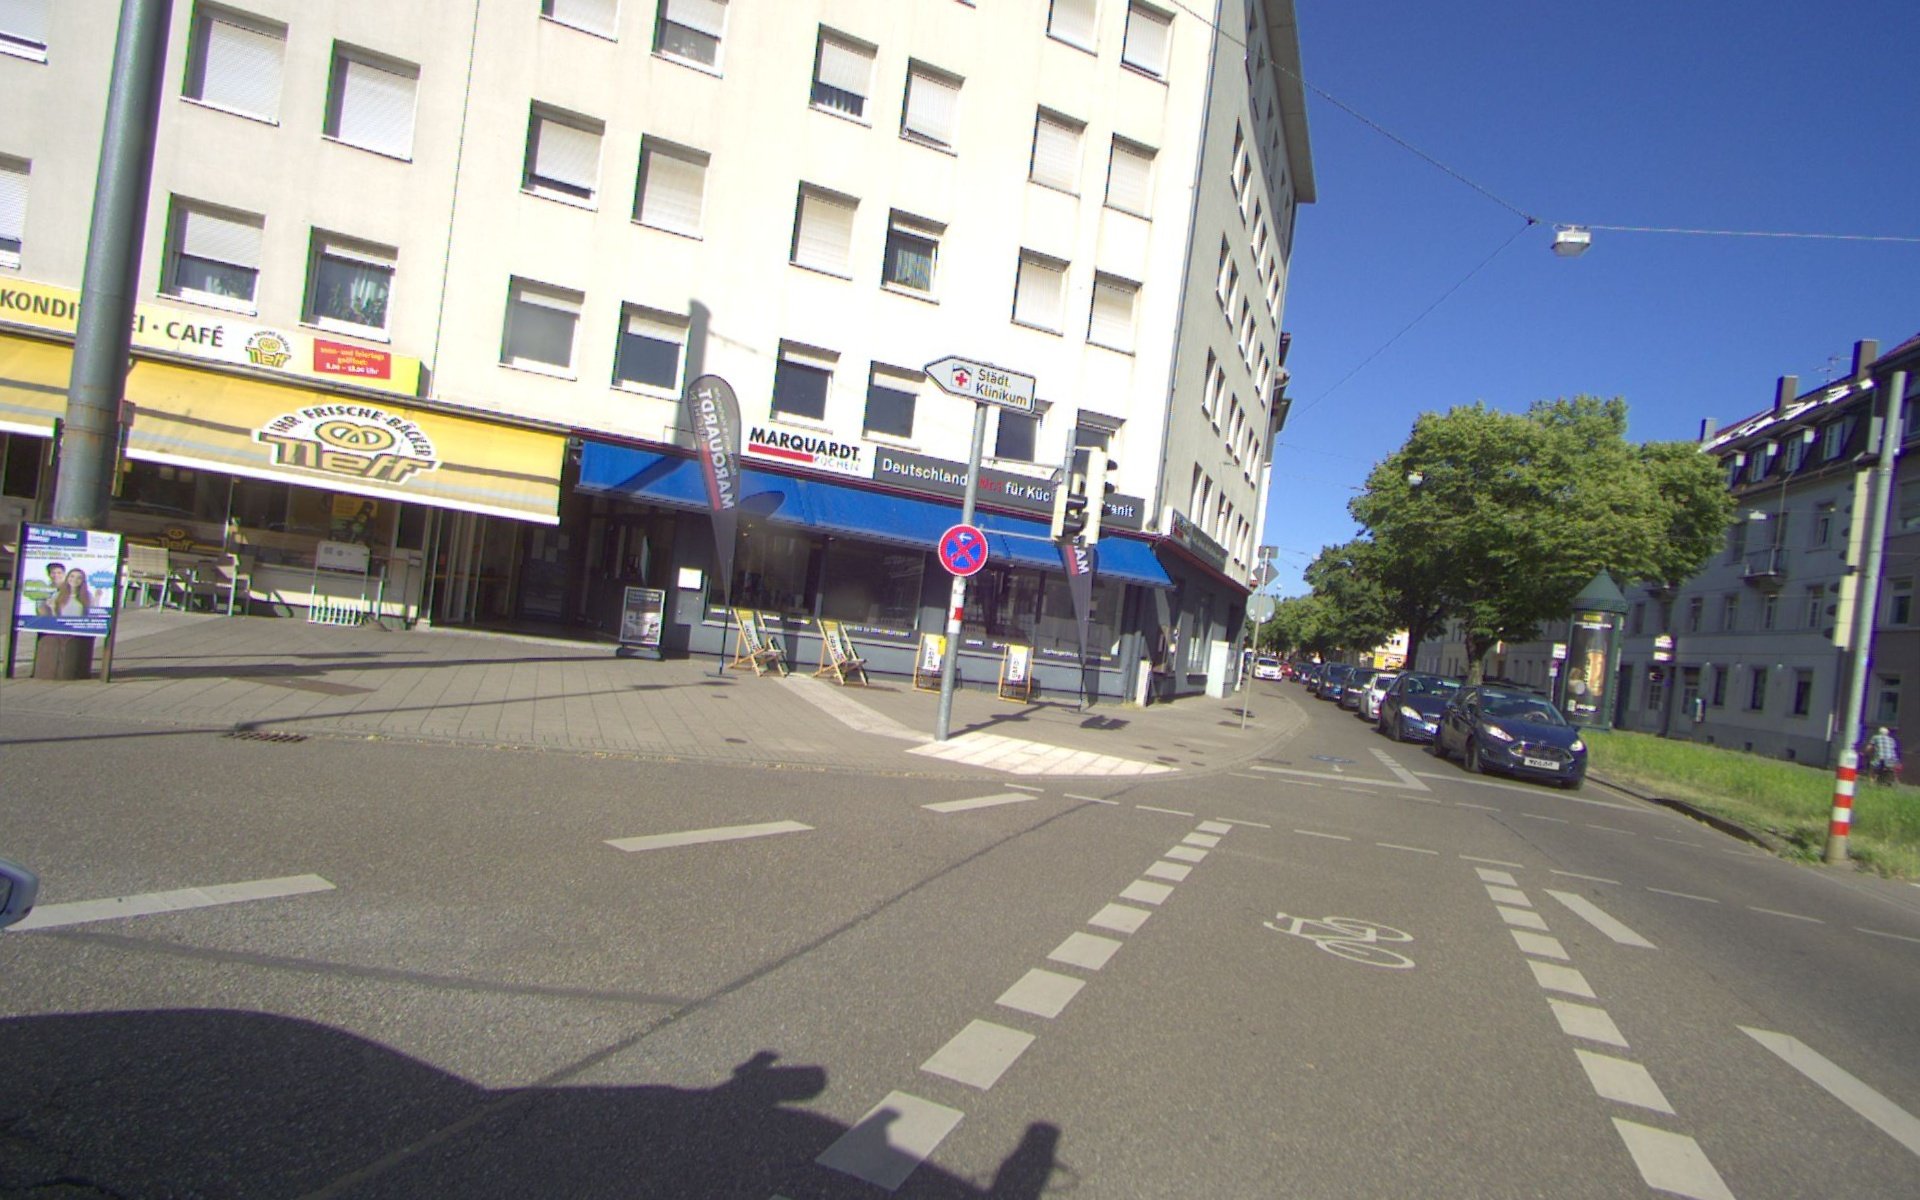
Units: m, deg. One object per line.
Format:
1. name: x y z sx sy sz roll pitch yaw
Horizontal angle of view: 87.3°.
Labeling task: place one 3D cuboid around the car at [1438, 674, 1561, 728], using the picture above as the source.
1. car: 22.565 4.221 42.184 1.985 1.593 3.956 7 0 -39

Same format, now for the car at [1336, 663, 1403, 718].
1. car: 14.608 3.179 36.055 1.627 1.600 3.773 7 -1 16

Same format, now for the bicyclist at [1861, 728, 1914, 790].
1. bicyclist: 23.586 4.032 25.589 0.500 1.426 0.806 7 0 12

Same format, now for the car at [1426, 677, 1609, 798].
1. car: 9.488 2.259 17.477 1.701 1.470 4.002 9 0 16

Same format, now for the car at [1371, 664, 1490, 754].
1. car: 10.632 2.402 22.998 1.627 1.600 4.002 7 -1 16

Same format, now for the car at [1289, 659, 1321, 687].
1. car: 23.866 5.039 69.679 1.627 1.600 3.773 7 -1 16

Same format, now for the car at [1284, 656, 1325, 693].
1. car: 17.889 3.833 52.381 1.627 1.600 3.773 7 -1 16

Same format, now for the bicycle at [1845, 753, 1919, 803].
1. bicycle: 23.536 4.509 25.613 0.497 0.967 1.998 7 -1 13

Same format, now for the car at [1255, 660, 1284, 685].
1. car: 21.189 4.935 68.918 1.627 1.388 3.773 7 -1 16

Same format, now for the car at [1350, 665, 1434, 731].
1. car: 12.909 2.878 30.282 1.627 1.600 4.002 7 -1 16

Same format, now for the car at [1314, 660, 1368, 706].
1. car: 16.054 3.457 42.520 1.627 1.600 3.773 7 -1 16
